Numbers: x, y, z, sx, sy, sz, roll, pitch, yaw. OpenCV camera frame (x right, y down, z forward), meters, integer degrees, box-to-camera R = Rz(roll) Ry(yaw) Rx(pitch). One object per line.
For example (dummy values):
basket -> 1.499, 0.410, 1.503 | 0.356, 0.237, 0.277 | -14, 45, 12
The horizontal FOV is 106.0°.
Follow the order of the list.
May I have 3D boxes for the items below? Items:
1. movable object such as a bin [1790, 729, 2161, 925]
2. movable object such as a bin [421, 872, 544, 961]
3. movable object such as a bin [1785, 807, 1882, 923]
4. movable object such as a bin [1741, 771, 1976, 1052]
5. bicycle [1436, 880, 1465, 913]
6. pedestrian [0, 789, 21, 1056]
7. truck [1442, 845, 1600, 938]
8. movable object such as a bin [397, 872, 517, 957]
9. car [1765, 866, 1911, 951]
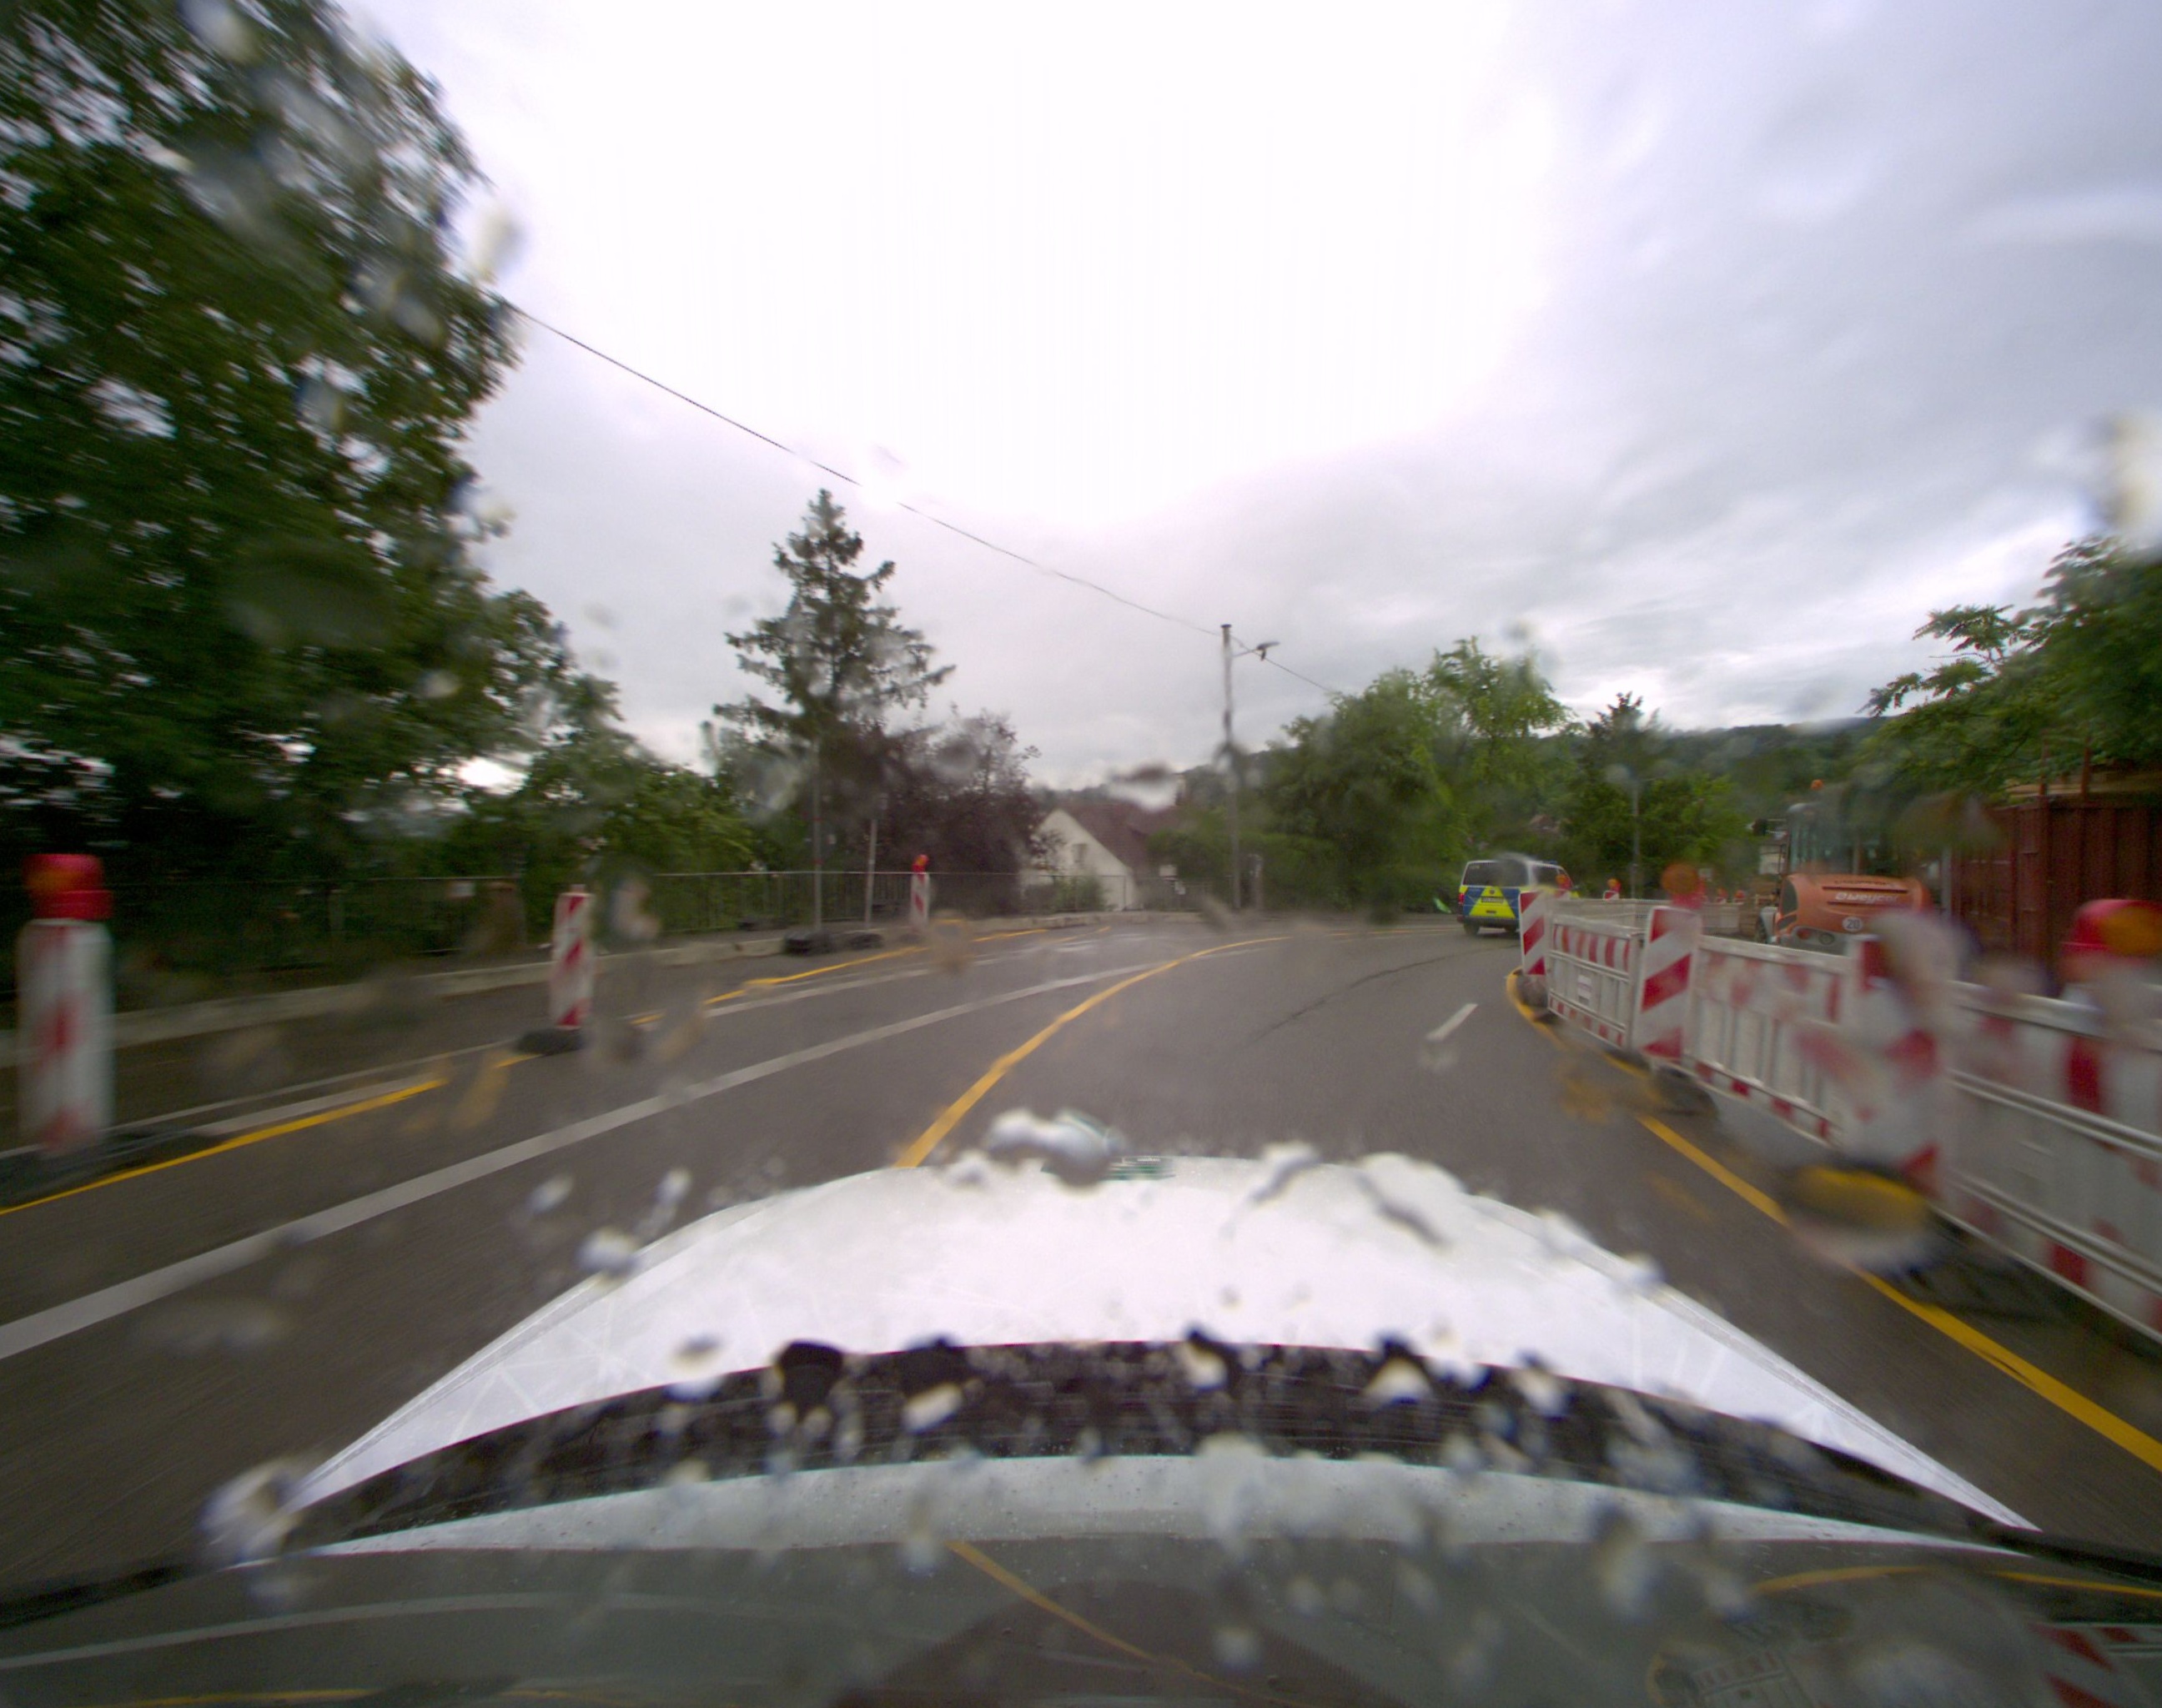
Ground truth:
movable object such as a bin -> 27.520, -0.391, 25.851 | 3.035, 4.920, 10.857 | 2, -3, 14
movable object such as a bin -> -8.101, 0.817, 11.047 | 0.976, 1.106, 1.034 | -2, -1, 30
movable object such as a bin -> 23.490, 0.420, 25.379 | 3.856, 3.306, 1.975 | 6, -4, -44
movable object such as a bin -> 11.196, 0.458, 11.970 | 2.056, 3.226, 5.318 | 1, 5, 42
bicycle -> 15.678, 1.804, 34.533 | 1.751, 1.349, 0.417 | 3, -3, -40
pedestrian -> -7.754, 0.456, 5.187 | 0.915, 1.768, 0.985 | -1, -1, 21
truck -> 11.737, 0.895, 21.577 | 4.759, 2.013, 1.976 | -4, 1, -40
movable object such as a bin -> -8.936, 0.842, 11.678 | 0.976, 1.106, 1.034 | -2, 1, 30
car -> 18.349, 1.219, 19.652 | 5.022, 1.779, 1.977 | 2, -1, -40
